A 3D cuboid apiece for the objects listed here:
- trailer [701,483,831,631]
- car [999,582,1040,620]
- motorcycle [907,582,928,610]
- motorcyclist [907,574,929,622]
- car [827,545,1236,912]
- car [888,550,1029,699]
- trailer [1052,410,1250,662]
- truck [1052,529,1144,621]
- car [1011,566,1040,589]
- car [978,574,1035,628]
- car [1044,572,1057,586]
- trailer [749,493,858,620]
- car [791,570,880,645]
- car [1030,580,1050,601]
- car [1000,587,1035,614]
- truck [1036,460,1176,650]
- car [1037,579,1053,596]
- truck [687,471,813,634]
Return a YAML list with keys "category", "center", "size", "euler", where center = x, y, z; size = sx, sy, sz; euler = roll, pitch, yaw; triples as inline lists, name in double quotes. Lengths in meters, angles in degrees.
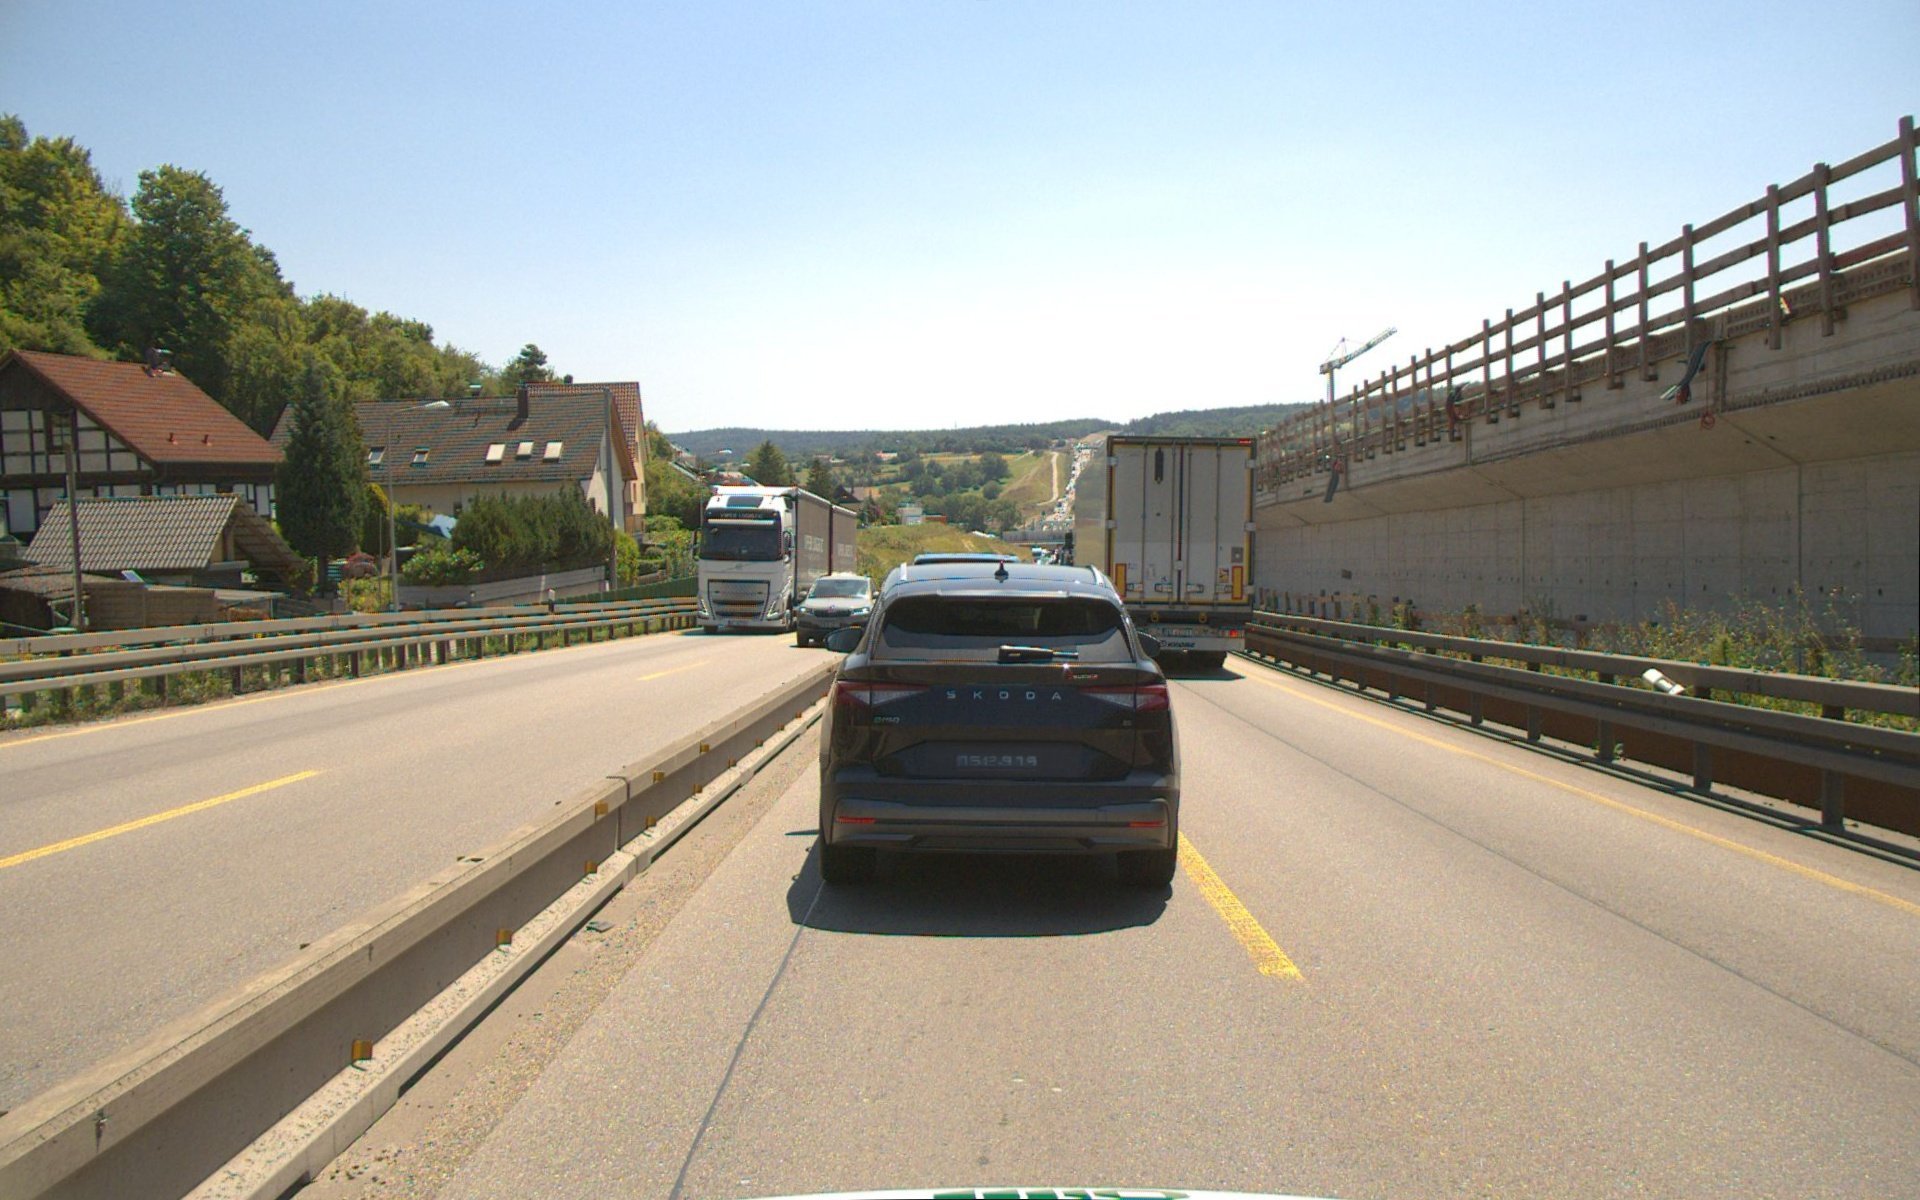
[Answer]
- category: "trailer"
  center: [-5.802, -1.309, 50.774]
  size: [2.700, 4.141, 8.010]
  euler: [1, 1, 2]
- category: "car"
  center: [2.790, 0.032, 78.073]
  size: [1.672, 1.650, 4.000]
  euler: [1, 1, -1]
- category: "motorcycle"
  center: [-1.687, -0.160, 66.544]
  size: [0.770, 1.098, 1.912]
  euler: [1, 1, 0]
- category: "motorcyclist"
  center: [-1.686, -0.084, 66.418]
  size: [0.836, 1.887, 0.984]
  euler: [1, 1, 0]
- category: "car"
  center: [0.178, 0.590, 9.303]
  size: [1.806, 1.614, 3.903]
  euler: [1, 0, -5]
- category: "car"
  center: [-0.099, 0.281, 23.472]
  size: [1.673, 1.914, 3.997]
  euler: [1, 1, -5]
- category: "trailer"
  center: [3.536, -1.033, 33.605]
  size: [2.480, 4.199, 11.545]
  euler: [1, 0, -1]
- category: "truck"
  center: [5.280, -0.849, 65.369]
  size: [3.128, 3.247, 12.812]
  euler: [0, 0, 3]
- category: "car"
  center: [4.885, -1.637, 123.304]
  size: [1.953, 1.613, 3.836]
  euler: [1, 0, 0]
- category: "car"
  center: [1.506, -0.003, 54.634]
  size: [1.672, 1.650, 4.000]
  euler: [1, 1, -1]
- category: "car"
  center: [12.132, -2.863, 222.635]
  size: [1.665, 1.758, 3.838]
  euler: [1, 0, 4]
- category: "trailer"
  center: [-5.451, -1.535, 59.100]
  size: [2.700, 4.141, 8.638]
  euler: [1, 1, 2]
- category: "car"
  center: [-2.878, 0.182, 38.940]
  size: [1.821, 1.639, 4.068]
  euler: [1, 0, -1]
- category: "car"
  center: [7.181, -0.827, 148.358]
  size: [1.665, 1.758, 3.838]
  euler: [1, 0, 4]
- category: "car"
  center: [3.507, 0.045, 101.290]
  size: [1.953, 1.613, 3.836]
  euler: [1, 0, 0]
- category: "truck"
  center: [3.386, -0.951, 40.249]
  size: [2.462, 4.095, 8.235]
  euler: [1, 0, -1]
- category: "car"
  center: [9.036, -1.291, 175.603]
  size: [1.665, 1.758, 3.838]
  euler: [1, 0, 4]
- category: "truck"
  center: [-5.909, -1.320, 47.250]
  size: [2.694, 4.358, 4.959]
  euler: [1, 1, 3]
